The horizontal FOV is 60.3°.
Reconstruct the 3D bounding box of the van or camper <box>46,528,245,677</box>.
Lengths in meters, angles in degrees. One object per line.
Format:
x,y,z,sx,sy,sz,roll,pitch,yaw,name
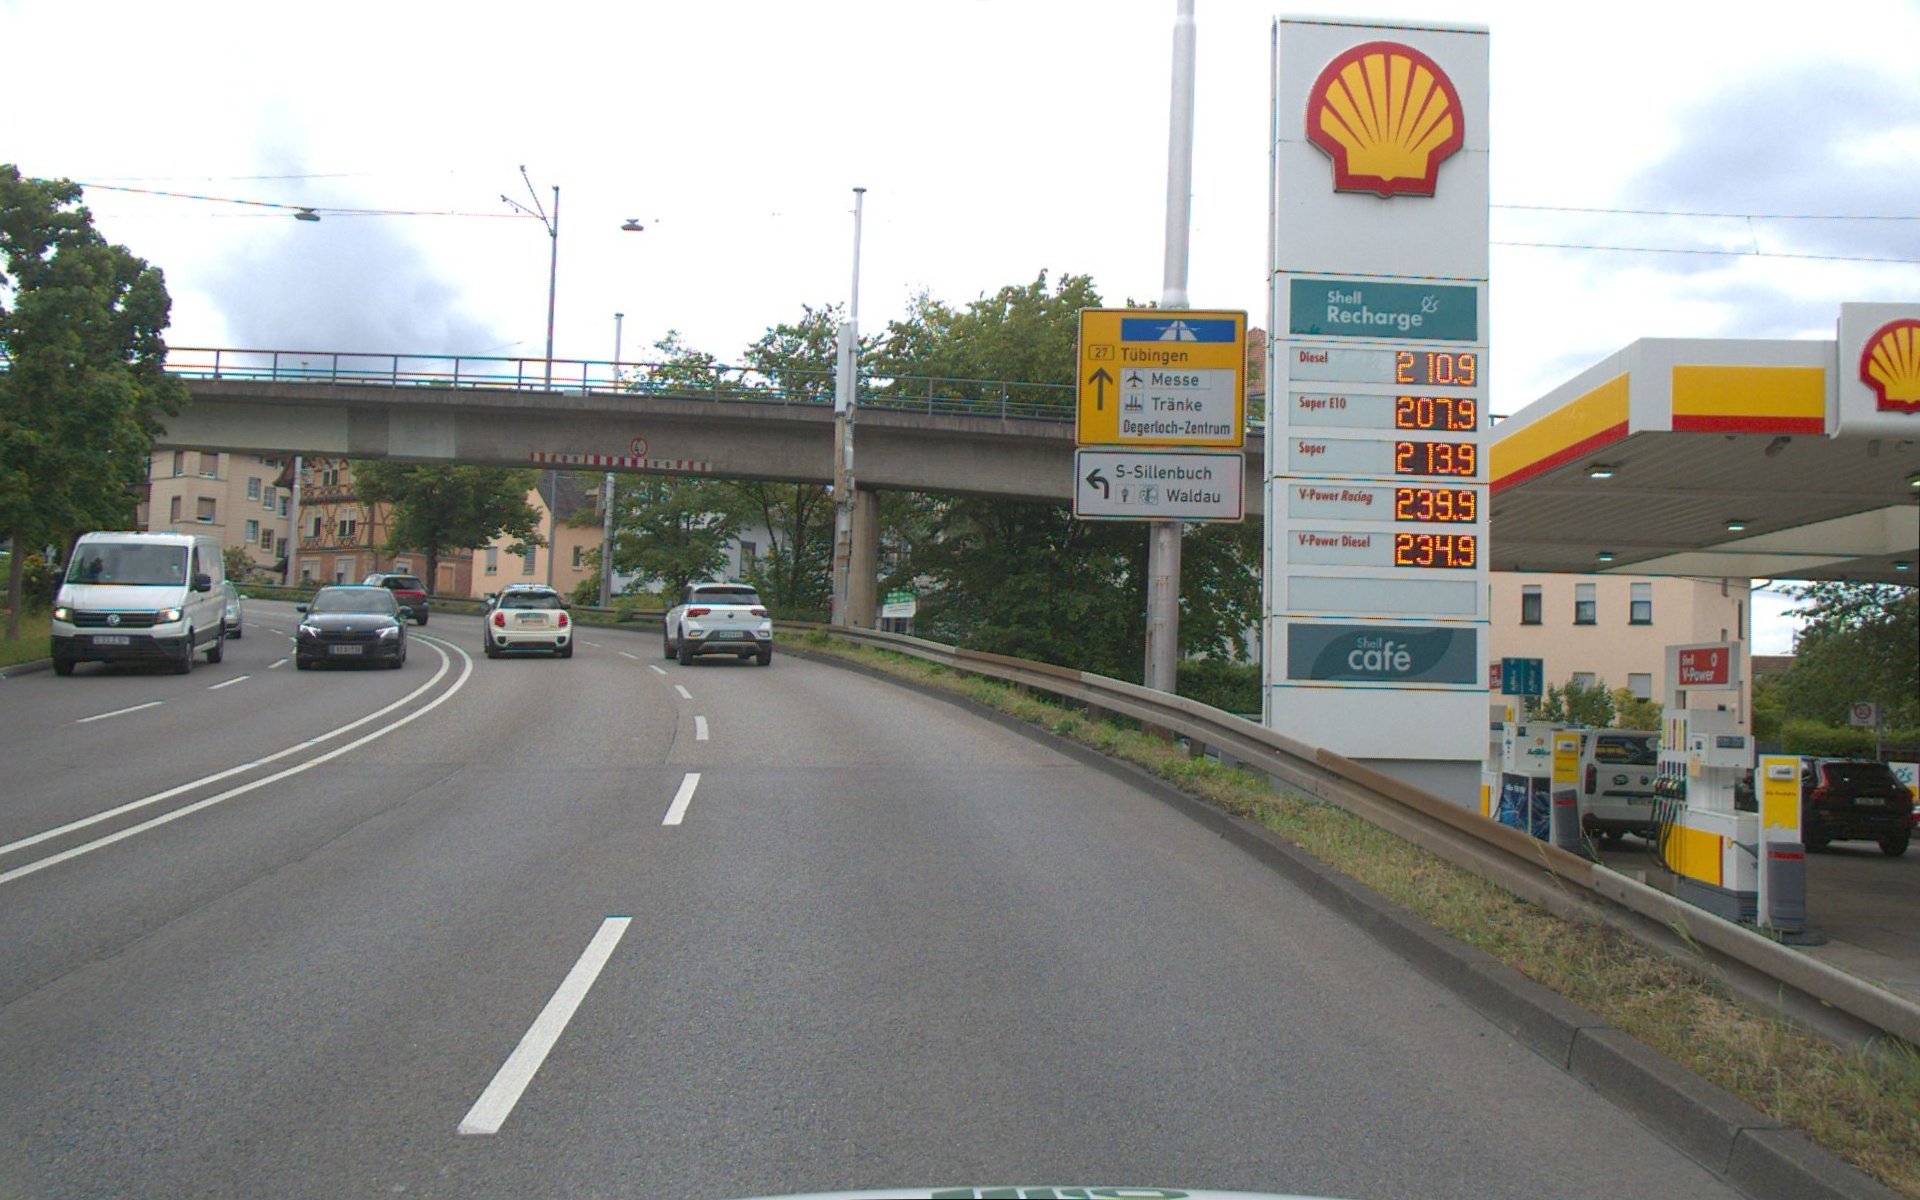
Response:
-13.956,0.004,28.725,1.976,2.300,5.937,1,1,-15,van or camper

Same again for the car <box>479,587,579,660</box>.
-9.080,0.462,34.674,1.697,1.400,3.437,2,0,-20,car

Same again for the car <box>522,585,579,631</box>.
-13.884,0.244,56.004,1.649,1.433,3.440,2,0,-17,car

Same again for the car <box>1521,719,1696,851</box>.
11.378,3.188,29.356,1.698,2.046,4.715,1,-3,6,car

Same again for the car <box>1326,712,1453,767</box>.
14.292,4.633,55.076,3.694,1.419,1.645,4,-2,35,car

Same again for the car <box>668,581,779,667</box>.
-4.704,0.440,32.522,1.767,1.545,3.443,2,0,-14,car

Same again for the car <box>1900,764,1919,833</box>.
23.356,4.520,37.285,3.542,1.484,1.657,0,-4,22,car

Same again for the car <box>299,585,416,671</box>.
-10.994,0.451,30.397,1.707,1.439,4.410,0,1,-16,car

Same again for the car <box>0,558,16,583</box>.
-55.866,-1.760,94.989,3.391,1.400,1.720,2,0,39,car

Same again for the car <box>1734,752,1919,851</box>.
15.654,3.604,30.078,1.698,1.512,3.879,1,-3,6,car

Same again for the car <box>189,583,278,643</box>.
-18.456,0.307,42.154,1.676,1.433,3.789,1,1,-18,car

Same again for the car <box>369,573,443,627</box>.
-18.321,-0.008,54.601,1.704,1.668,3.423,2,0,-29,car
